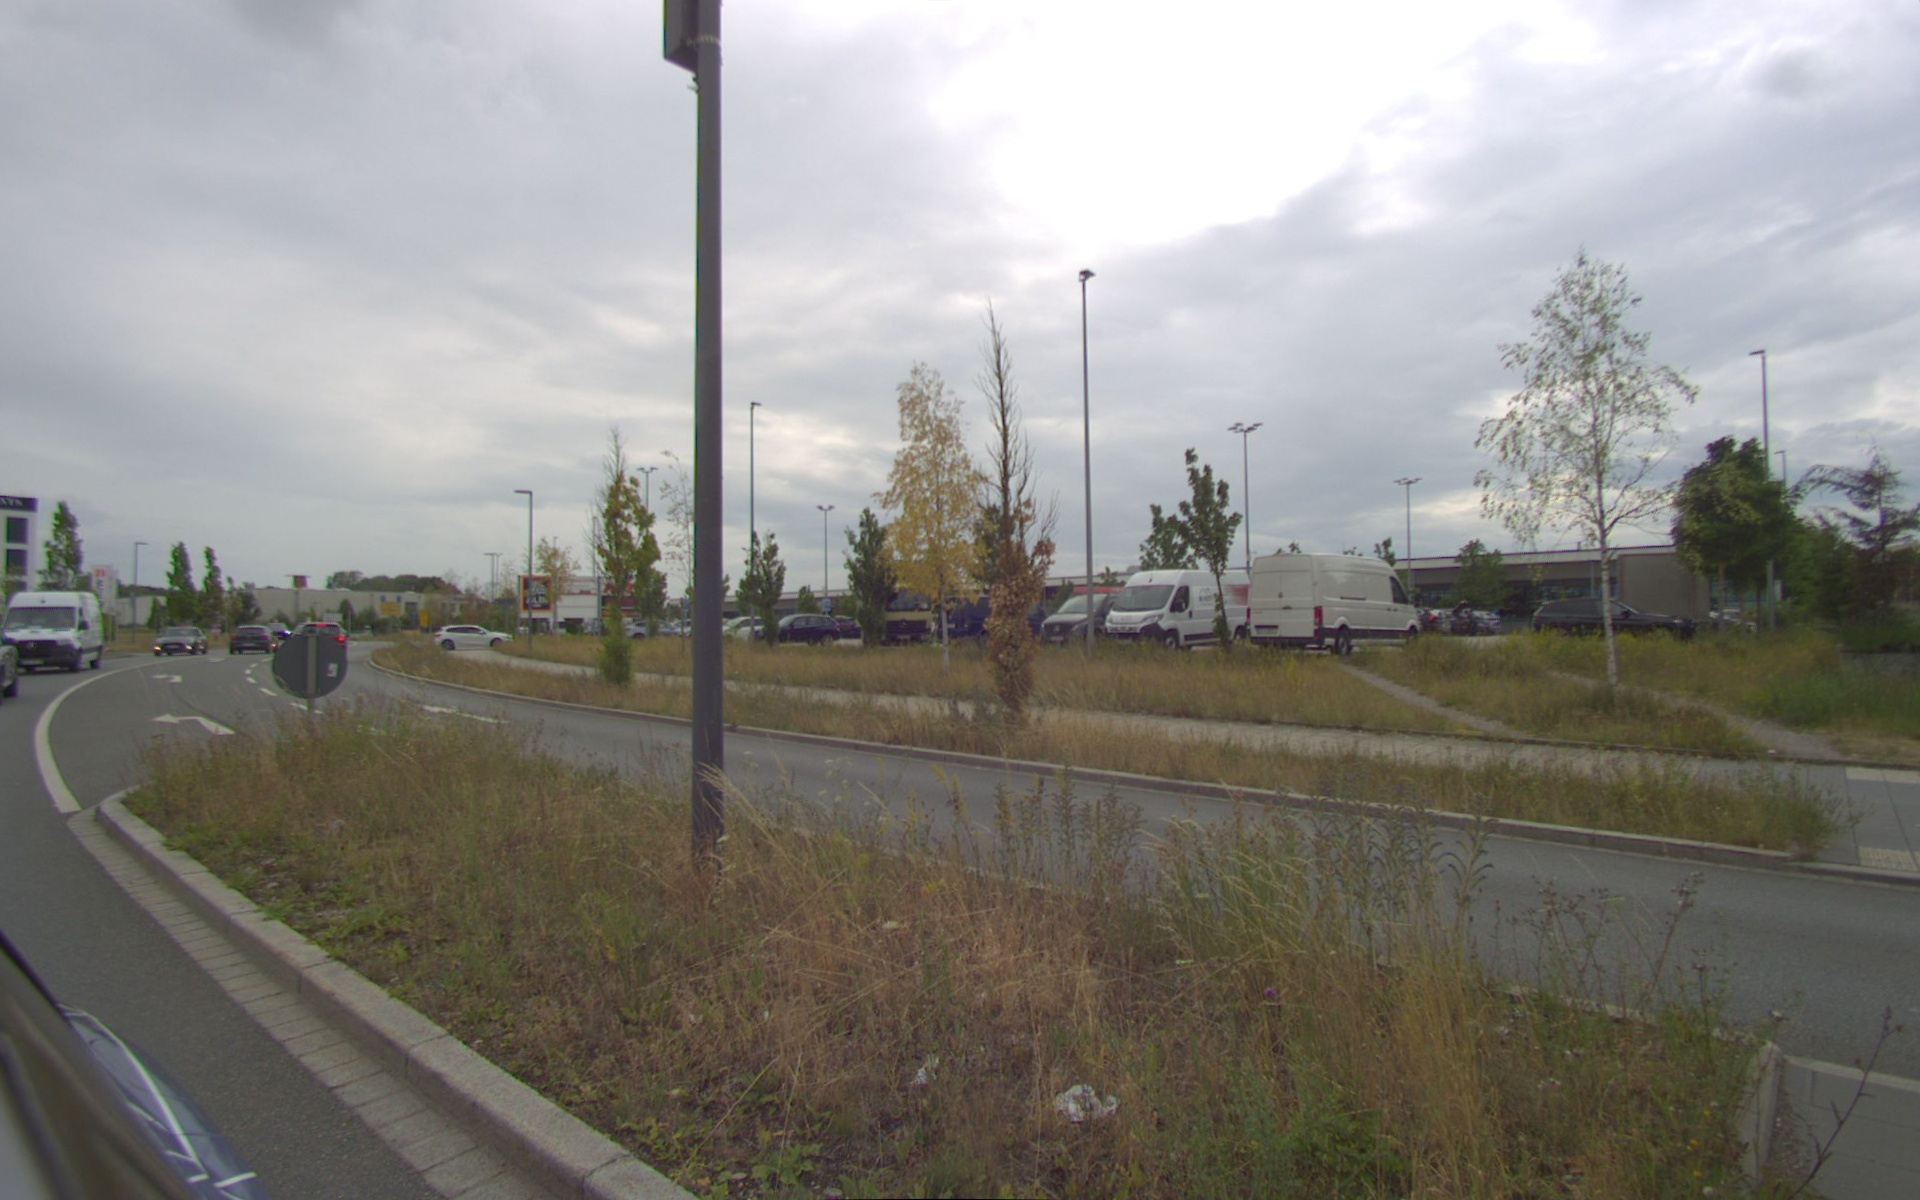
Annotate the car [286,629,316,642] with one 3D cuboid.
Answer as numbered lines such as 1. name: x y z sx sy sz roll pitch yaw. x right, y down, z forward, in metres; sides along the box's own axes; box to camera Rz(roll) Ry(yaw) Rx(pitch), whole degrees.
1. car: -111.677 6.036 171.575 1.632 2.029 3.967 -2 -2 24

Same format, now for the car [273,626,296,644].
1. car: -62.384 3.227 93.475 1.728 1.597 4.010 0 -2 -34

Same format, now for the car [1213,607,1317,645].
1. car: 13.199 1.141 43.958 3.995 1.614 1.652 -2 -2 39

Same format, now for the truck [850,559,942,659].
1. truck: -2.764 0.419 40.710 2.813 3.568 8.445 -1 -2 -9

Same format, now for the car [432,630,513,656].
1. car: -28.992 2.532 60.320 4.121 1.480 1.892 1 -2 -19

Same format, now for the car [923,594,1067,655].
1. car: 1.283 0.884 35.706 4.839 2.005 2.183 1 -2 -39

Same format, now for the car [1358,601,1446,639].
1. car: 24.327 1.113 55.781 1.968 2.029 4.006 1 -2 -40

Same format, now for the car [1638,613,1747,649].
1. car: 34.989 1.497 48.403 4.000 1.663 1.972 -2 -3 43

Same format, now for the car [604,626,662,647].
1. car: -27.003 3.000 83.585 4.240 1.667 2.087 1 -3 -29

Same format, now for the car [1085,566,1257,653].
1. car: 6.366 0.308 29.995 2.210 2.324 6.002 -2 -2 43

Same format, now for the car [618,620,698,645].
1. car: -19.279 2.090 64.579 4.533 1.573 2.006 1 -3 -30

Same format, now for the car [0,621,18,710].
1. car: -19.274 1.262 18.977 1.968 1.677 4.008 0 -2 -38

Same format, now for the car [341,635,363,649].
1. car: -73.465 5.064 122.359 1.965 1.649 4.717 3 -3 -27

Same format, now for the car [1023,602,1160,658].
1. car: 4.272 0.954 32.268 1.994 1.629 4.850 -2 -2 41

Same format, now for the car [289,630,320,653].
1. car: -43.141 2.717 66.585 1.679 1.449 4.043 1 -3 -33

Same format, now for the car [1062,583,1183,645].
1. car: 7.442 0.705 46.612 5.138 2.711 2.039 -2 -3 38

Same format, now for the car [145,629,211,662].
1. car: -39.614 2.291 51.358 1.727 1.597 4.013 0 -2 -24

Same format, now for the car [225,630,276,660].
1. car: -36.384 2.287 51.966 1.804 1.431 4.258 0 -2 -31

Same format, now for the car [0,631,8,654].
1. car: -71.464 3.132 74.426 1.740 1.699 4.419 1 -3 -39

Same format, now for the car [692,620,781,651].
1. car: -11.965 1.914 54.242 4.191 1.571 1.993 1 -3 -36

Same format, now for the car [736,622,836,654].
1. car: -8.166 1.782 47.643 4.174 1.446 2.003 1 -3 -33

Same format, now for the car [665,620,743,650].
1. car: -15.535 2.121 61.380 4.183 1.736 2.034 0 -2 -31

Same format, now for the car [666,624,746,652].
1. car: -14.751 2.167 58.756 4.182 1.525 2.052 0 -2 -27

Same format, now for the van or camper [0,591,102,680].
1. van or camper: -29.662 1.161 32.868 2.228 2.636 5.710 1 -3 -36

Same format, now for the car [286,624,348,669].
1. car: -26.342 1.899 41.403 1.775 1.682 4.336 4 -4 -36

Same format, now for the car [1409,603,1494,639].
1. car: 28.626 1.229 59.038 1.966 2.029 4.010 1 -2 -34

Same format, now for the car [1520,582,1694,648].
1. car: 21.567 0.551 33.856 4.637 2.048 1.972 -2 -3 42

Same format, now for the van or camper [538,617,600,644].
1. van or camper: -41.436 3.237 107.363 5.775 2.821 2.248 1 -2 -36

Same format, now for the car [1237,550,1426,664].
1. car: 9.800 0.228 26.317 2.244 2.618 6.336 -2 -2 44
